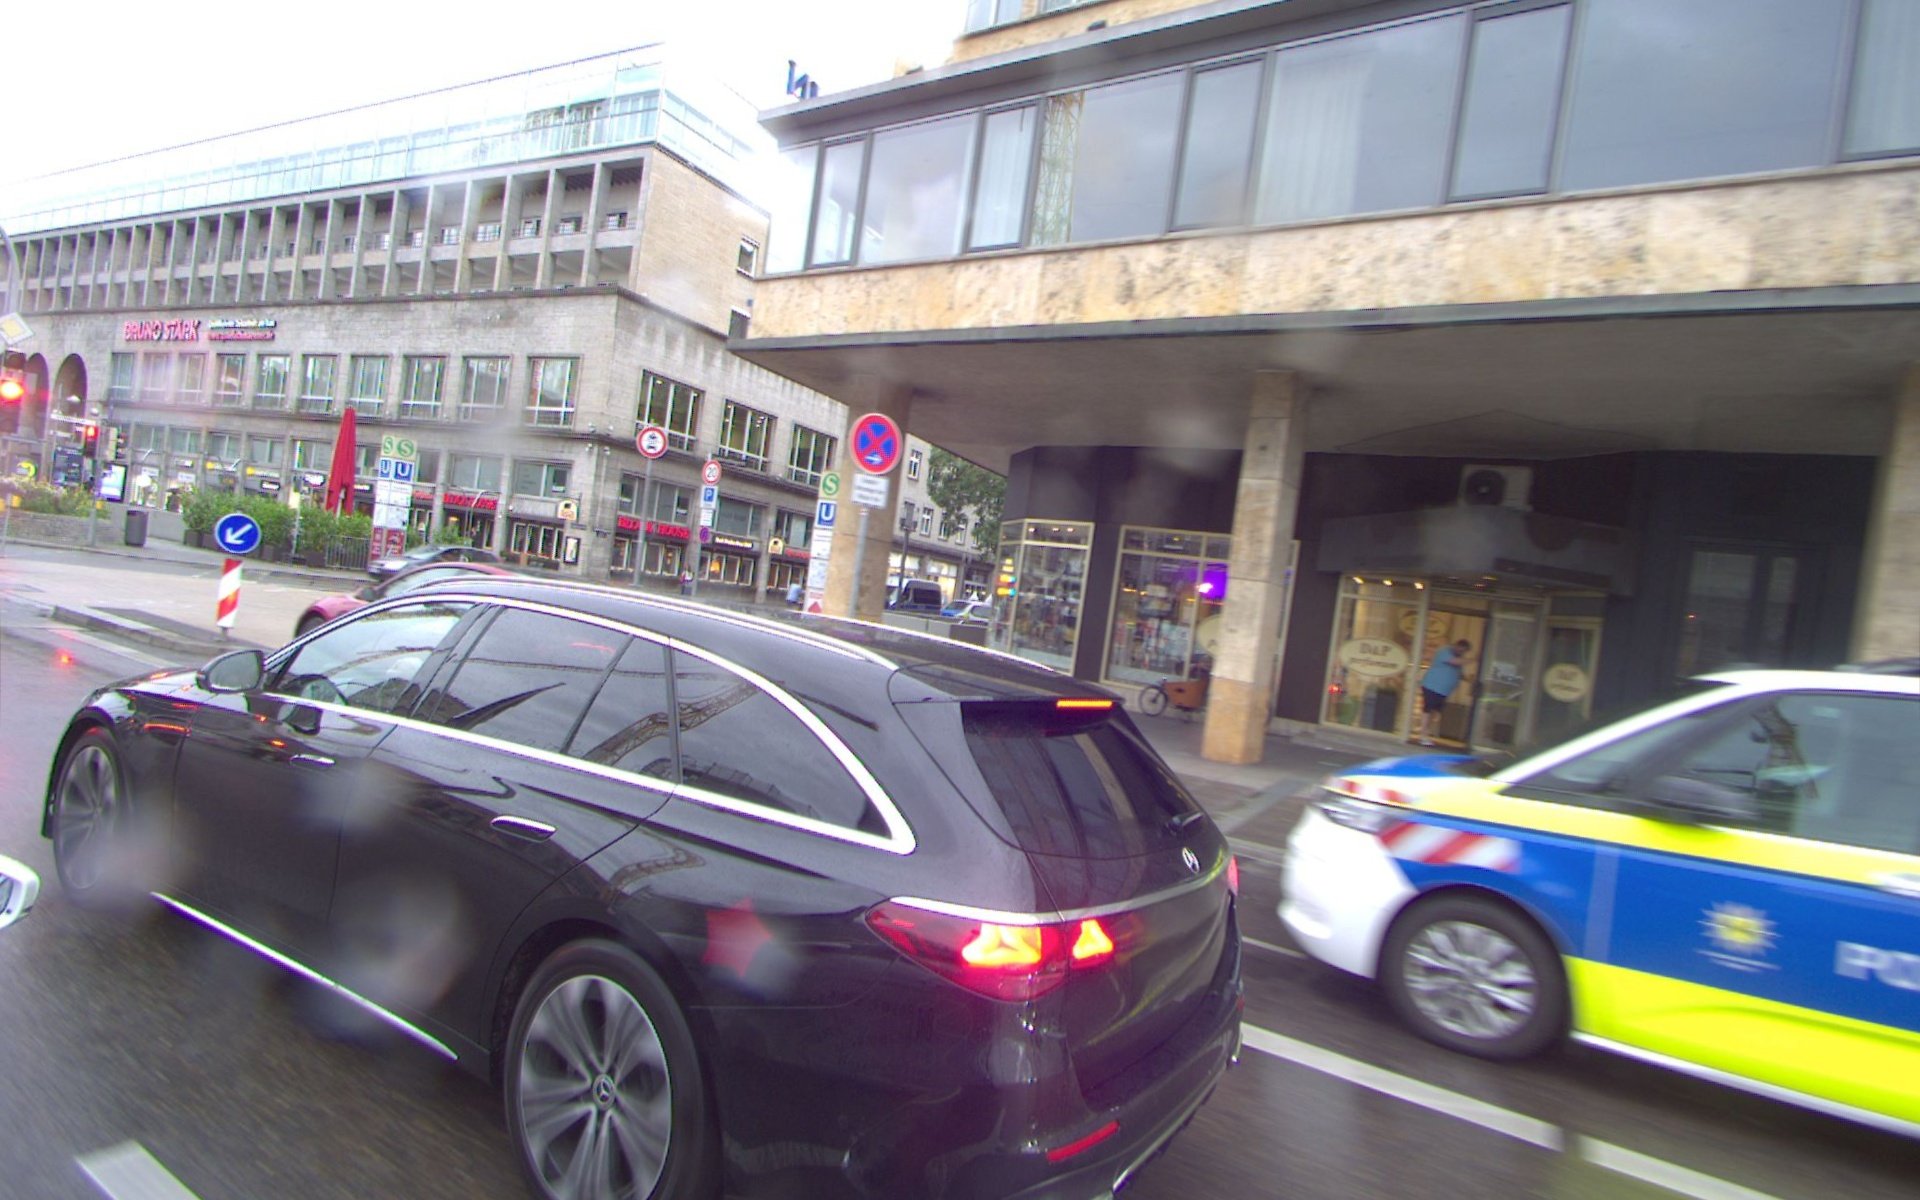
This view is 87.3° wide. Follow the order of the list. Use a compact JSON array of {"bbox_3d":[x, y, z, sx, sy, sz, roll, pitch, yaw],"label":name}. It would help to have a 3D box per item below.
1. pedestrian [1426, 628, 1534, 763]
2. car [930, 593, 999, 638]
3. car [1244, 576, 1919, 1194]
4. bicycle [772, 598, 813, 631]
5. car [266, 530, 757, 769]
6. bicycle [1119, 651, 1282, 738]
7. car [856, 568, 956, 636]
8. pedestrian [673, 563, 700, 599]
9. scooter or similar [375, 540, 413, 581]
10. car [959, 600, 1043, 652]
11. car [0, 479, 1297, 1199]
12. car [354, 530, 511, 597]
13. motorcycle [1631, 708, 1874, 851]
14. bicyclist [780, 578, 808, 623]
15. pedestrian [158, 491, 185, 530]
[{"bbox_3d":[7.742,1.411,14.974,1.119,1.811,0.798,7,-1,39],"label":"pedestrian"},{"bbox_3d":[0.303,0.928,59.302,1.966,2.065,4.557,7,-2,29],"label":"car"},{"bbox_3d":[3.973,1.188,4.241,4.853,1.942,1.878,7,-2,31],"label":"car"},{"bbox_3d":[-6.207,0.559,37.388,0.581,1.021,2.217,7,-2,12],"label":"bicycle"},{"bbox_3d":[-4.286,0.376,9.427,4.451,1.503,1.878,7,-2,31],"label":"car"},{"bbox_3d":[3.940,1.535,16.588,2.431,1.058,0.657,7,-1,32],"label":"bicycle"},{"bbox_3d":[-2.736,0.157,52.769,1.966,2.793,6.183,7,-2,29],"label":"car"},{"bbox_3d":[-12.422,-0.867,45.729,0.705,1.530,0.758,7,-1,34],"label":"pedestrian"},{"bbox_3d":[-18.310,-1.274,32.524,1.000,1.203,0.291,7,-1,13],"label":"scooter or similar"},{"bbox_3d":[2.039,1.285,48.299,1.966,1.995,4.638,8,0,29],"label":"car"},{"bbox_3d":[-1.397,0.588,3.618,4.551,1.519,1.797,7,-2,31],"label":"car"},{"bbox_3d":[-15.869,-1.067,30.402,1.822,1.414,3.659,7,-2,35],"label":"car"},{"bbox_3d":[9.158,2.038,11.719,2.074,1.232,0.567,6,-1,40],"label":"motorcycle"},{"bbox_3d":[-6.155,0.016,37.233,0.601,1.558,0.719,7,-1,13],"label":"bicyclist"},{"bbox_3d":[-43.656,-4.946,55.706,0.811,2.037,0.764,7,-1,32],"label":"pedestrian"}]
